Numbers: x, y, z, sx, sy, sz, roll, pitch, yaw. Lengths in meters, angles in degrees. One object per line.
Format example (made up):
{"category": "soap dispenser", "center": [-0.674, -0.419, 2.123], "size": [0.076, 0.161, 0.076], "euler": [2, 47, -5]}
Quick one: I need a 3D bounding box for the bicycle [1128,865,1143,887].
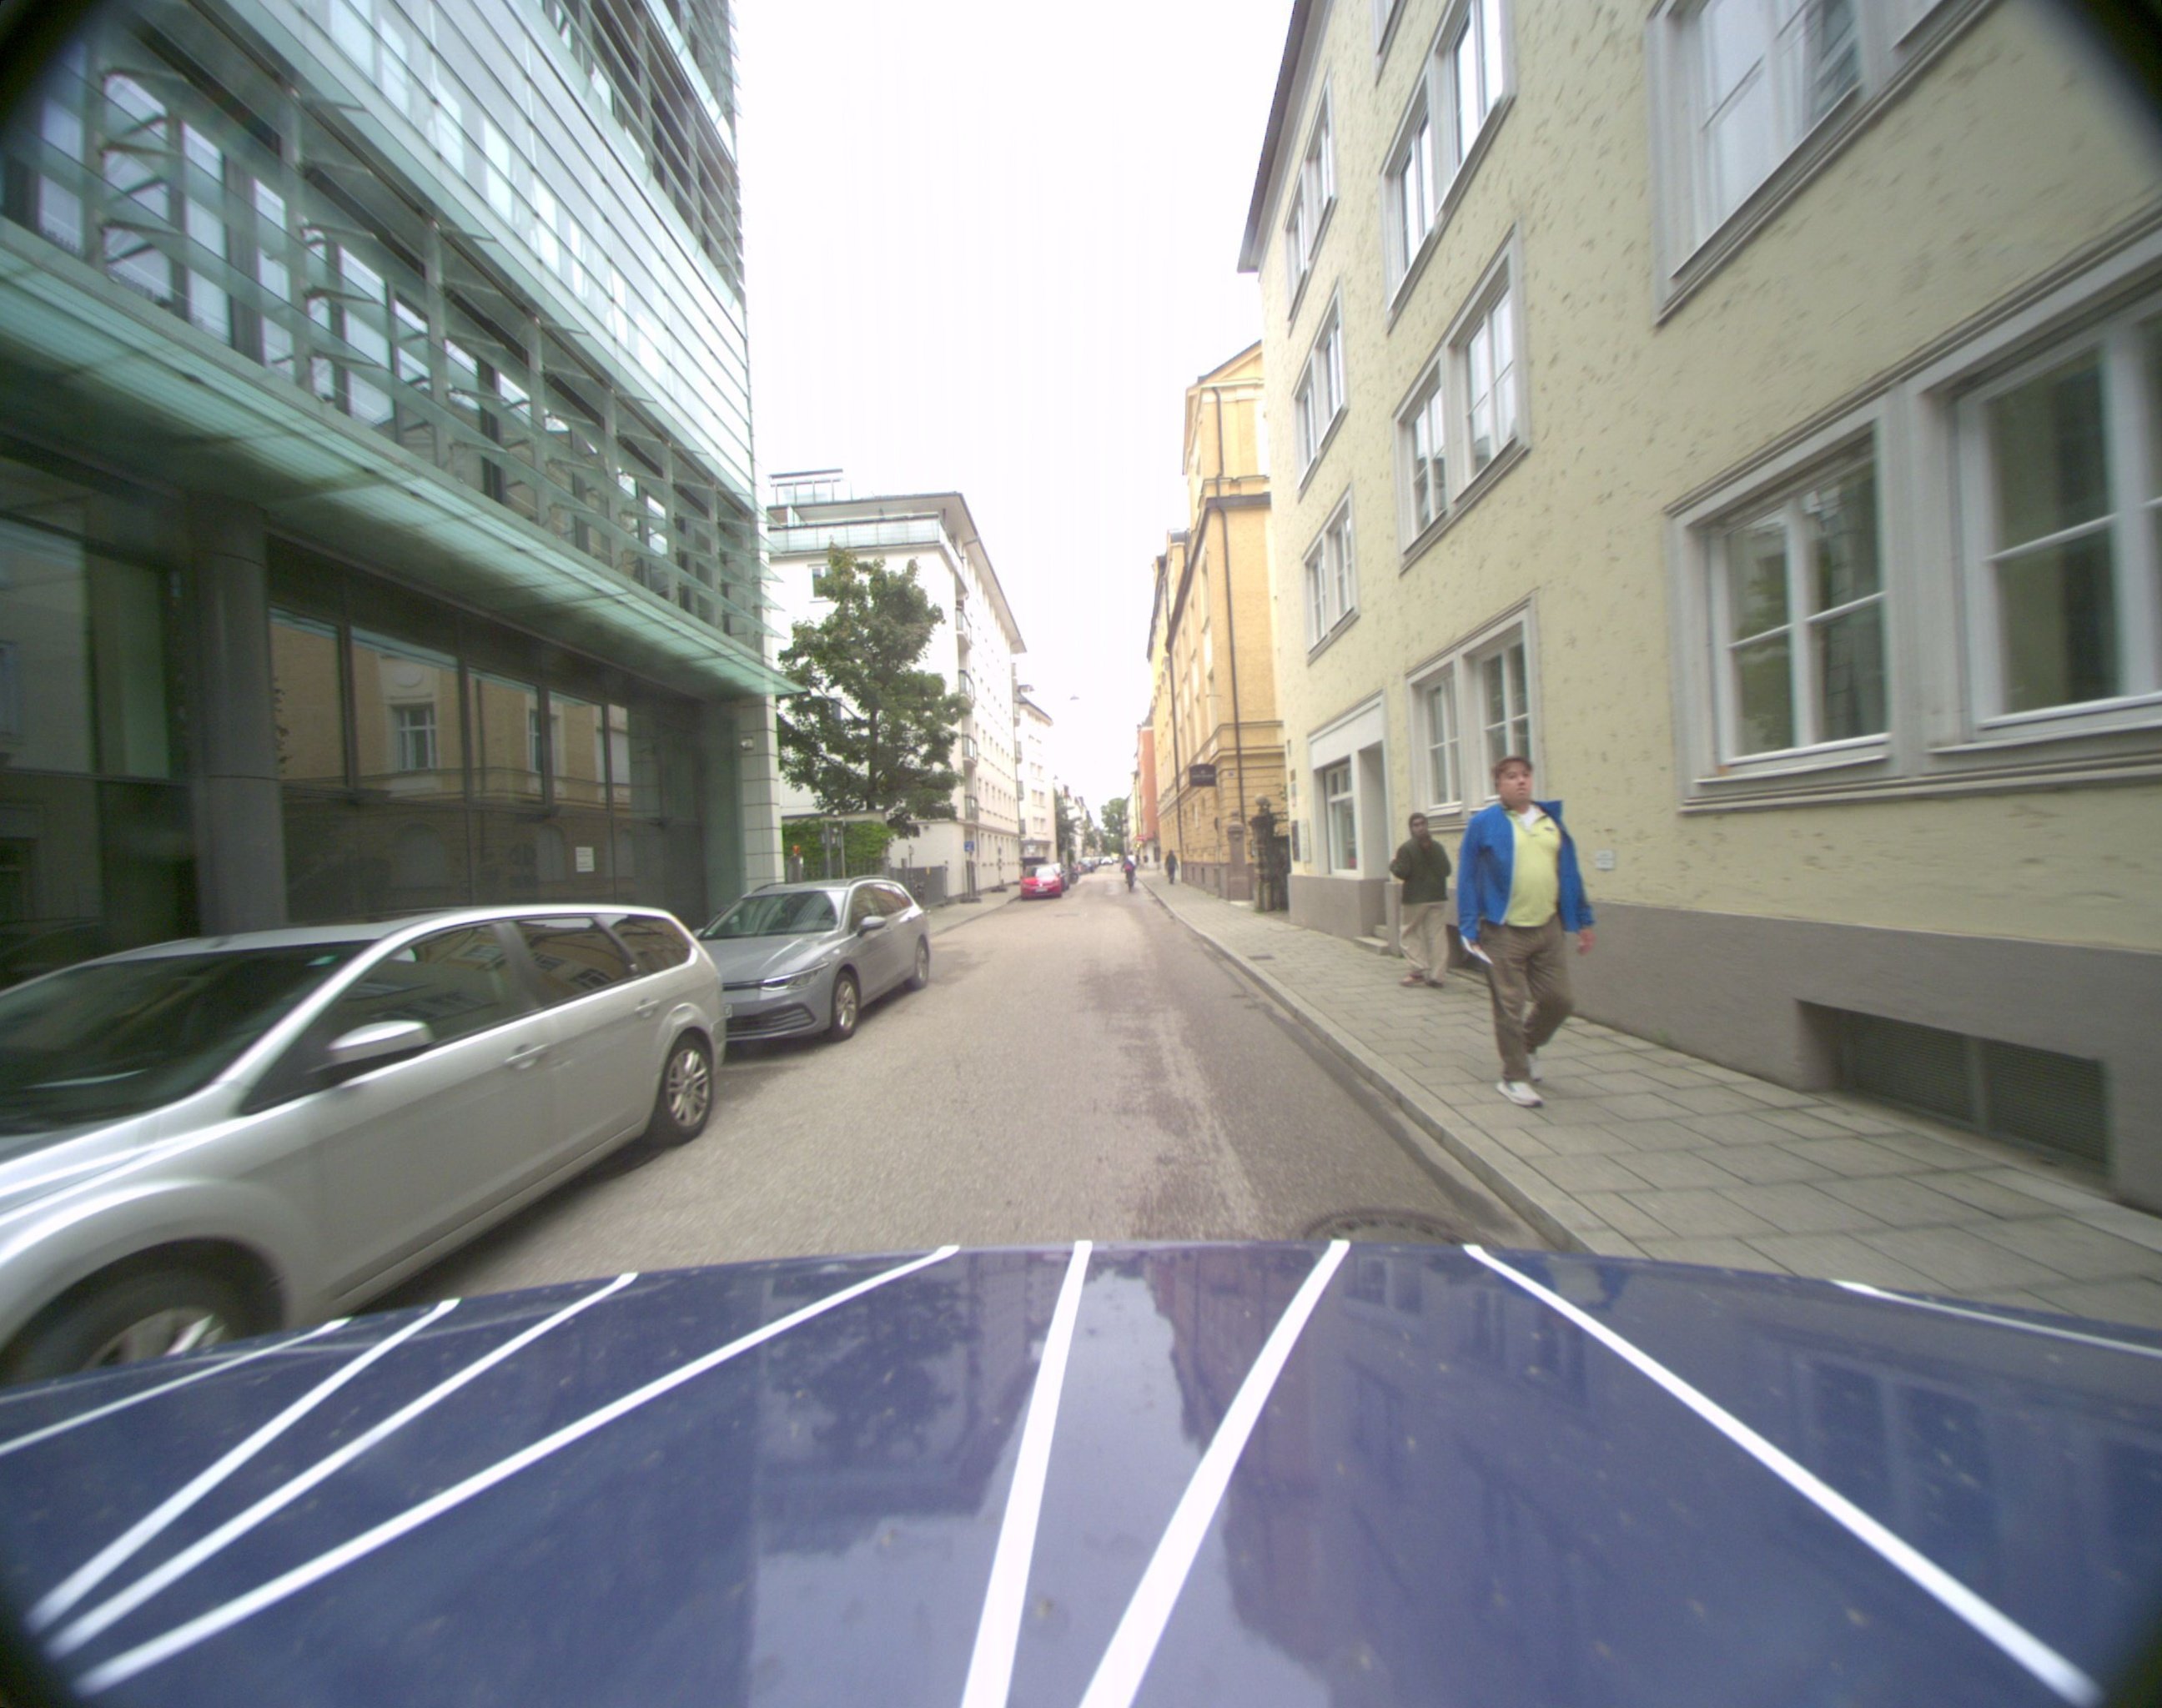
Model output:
{"category": "bicycle", "center": [2.761, 1.118, 38.779], "size": [0.663, 1.033, 2.005], "euler": [-3, 0, 2]}

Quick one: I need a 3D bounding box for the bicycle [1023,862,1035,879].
{"category": "bicycle", "center": [-3.803, 1.198, 55.661], "size": [0.399, 1.197, 1.503], "euler": [-1, 1, -22]}

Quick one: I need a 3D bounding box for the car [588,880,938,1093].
{"category": "car", "center": [-2.893, 1.112, 8.093], "size": [1.712, 1.424, 4.330], "euler": [-3, 0, 2]}

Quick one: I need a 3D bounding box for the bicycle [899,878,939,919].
{"category": "bicycle", "center": [-5.004, 1.378, 23.618], "size": [0.709, 1.190, 1.835], "euler": [-3, -3, 3]}

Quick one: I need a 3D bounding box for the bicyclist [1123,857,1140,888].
{"category": "bicyclist", "center": [2.345, 0.860, 35.655], "size": [0.709, 1.363, 0.813], "euler": [-3, 0, 2]}

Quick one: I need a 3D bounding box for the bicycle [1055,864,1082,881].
{"category": "bicycle", "center": [-0.786, 1.195, 49.427], "size": [1.706, 1.037, 0.360], "euler": [-1, 1, 3]}

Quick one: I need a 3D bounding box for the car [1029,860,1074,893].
{"category": "car", "center": [-1.485, 1.120, 39.685], "size": [1.798, 1.430, 4.384], "euler": [-5, 0, 4]}

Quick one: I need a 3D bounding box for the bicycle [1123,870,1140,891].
{"category": "bicycle", "center": [2.364, 1.248, 35.694], "size": [0.709, 0.900, 1.810], "euler": [-3, 0, 2]}

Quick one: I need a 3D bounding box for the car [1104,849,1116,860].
{"category": "car", "center": [5.128, 0.025, 132.851], "size": [1.929, 1.794, 4.444], "euler": [-3, 0, 2]}

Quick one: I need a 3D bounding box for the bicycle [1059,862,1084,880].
{"category": "bicycle", "center": [-0.662, 1.196, 52.812], "size": [1.699, 1.154, 0.378], "euler": [-3, 1, 2]}

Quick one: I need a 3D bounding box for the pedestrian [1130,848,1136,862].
{"category": "pedestrian", "center": [6.528, 0.138, 95.313], "size": [0.726, 1.783, 0.830], "euler": [-3, 1, 3]}

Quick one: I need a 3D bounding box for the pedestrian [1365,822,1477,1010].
{"category": "pedestrian", "center": [3.205, 0.561, 7.224], "size": [0.648, 1.666, 0.724], "euler": [-4, 1, 1]}

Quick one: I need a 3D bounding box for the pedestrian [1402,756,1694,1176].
{"category": "pedestrian", "center": [2.327, 0.511, 3.955], "size": [0.758, 1.844, 1.077], "euler": [-5, 0, 3]}

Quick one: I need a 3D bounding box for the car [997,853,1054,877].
{"category": "car", "center": [-4.887, 0.954, 67.159], "size": [4.675, 1.880, 1.935], "euler": [-3, 0, 11]}

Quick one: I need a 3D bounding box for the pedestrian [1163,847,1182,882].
{"category": "pedestrian", "center": [4.497, 0.510, 37.484], "size": [0.714, 1.656, 0.930], "euler": [-6, 0, 2]}

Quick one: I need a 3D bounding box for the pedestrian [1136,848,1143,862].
{"category": "pedestrian", "center": [7.358, 0.095, 95.352], "size": [0.699, 1.783, 0.763], "euler": [-3, 1, 3]}

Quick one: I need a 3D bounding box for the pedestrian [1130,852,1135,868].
{"category": "pedestrian", "center": [6.492, 0.719, 95.626], "size": [0.635, 2.002, 0.788], "euler": [-2, 0, 3]}

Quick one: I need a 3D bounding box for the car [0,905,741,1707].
{"category": "car", "center": [-3.151, 1.138, 2.931], "size": [1.712, 1.459, 4.236], "euler": [-5, 0, -1]}

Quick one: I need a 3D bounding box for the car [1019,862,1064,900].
{"category": "car", "center": [-1.788, 1.157, 34.410], "size": [1.766, 1.438, 4.297], "euler": [-5, 0, -3]}

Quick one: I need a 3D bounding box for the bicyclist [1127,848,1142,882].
{"category": "bicyclist", "center": [2.716, 0.551, 38.546], "size": [0.661, 1.633, 0.895], "euler": [-3, 0, 2]}

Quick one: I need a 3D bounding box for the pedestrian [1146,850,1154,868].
{"category": "pedestrian", "center": [6.514, 0.488, 71.968], "size": [0.613, 1.684, 0.566], "euler": [-3, 1, 2]}

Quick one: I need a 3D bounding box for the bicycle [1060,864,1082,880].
{"category": "bicycle", "center": [-0.688, 1.187, 51.141], "size": [1.441, 1.037, 0.360], "euler": [-1, 1, 11]}

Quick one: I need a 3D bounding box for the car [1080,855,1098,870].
{"category": "car", "center": [0.864, 0.900, 80.707], "size": [1.653, 1.390, 4.001], "euler": [-3, 0, 3]}

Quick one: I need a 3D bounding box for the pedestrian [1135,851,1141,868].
{"category": "pedestrian", "center": [7.159, 0.691, 95.594], "size": [0.635, 2.002, 0.788], "euler": [-2, 0, 3]}

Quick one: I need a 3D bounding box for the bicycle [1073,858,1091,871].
{"category": "bicycle", "center": [0.121, 1.034, 74.313], "size": [1.607, 1.207, 0.529], "euler": [-3, 1, 5]}

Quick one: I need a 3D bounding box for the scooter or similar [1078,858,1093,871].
{"category": "scooter or similar", "center": [0.468, 1.027, 72.892], "size": [1.340, 1.207, 0.344], "euler": [-3, 1, 5]}

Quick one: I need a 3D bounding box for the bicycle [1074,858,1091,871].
{"category": "bicycle", "center": [0.171, 1.028, 74.906], "size": [1.607, 1.207, 0.529], "euler": [-3, 1, 5]}

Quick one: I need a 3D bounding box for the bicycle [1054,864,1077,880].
{"category": "bicycle", "center": [-1.012, 1.201, 49.904], "size": [1.438, 1.037, 0.330], "euler": [-1, 1, 11]}
